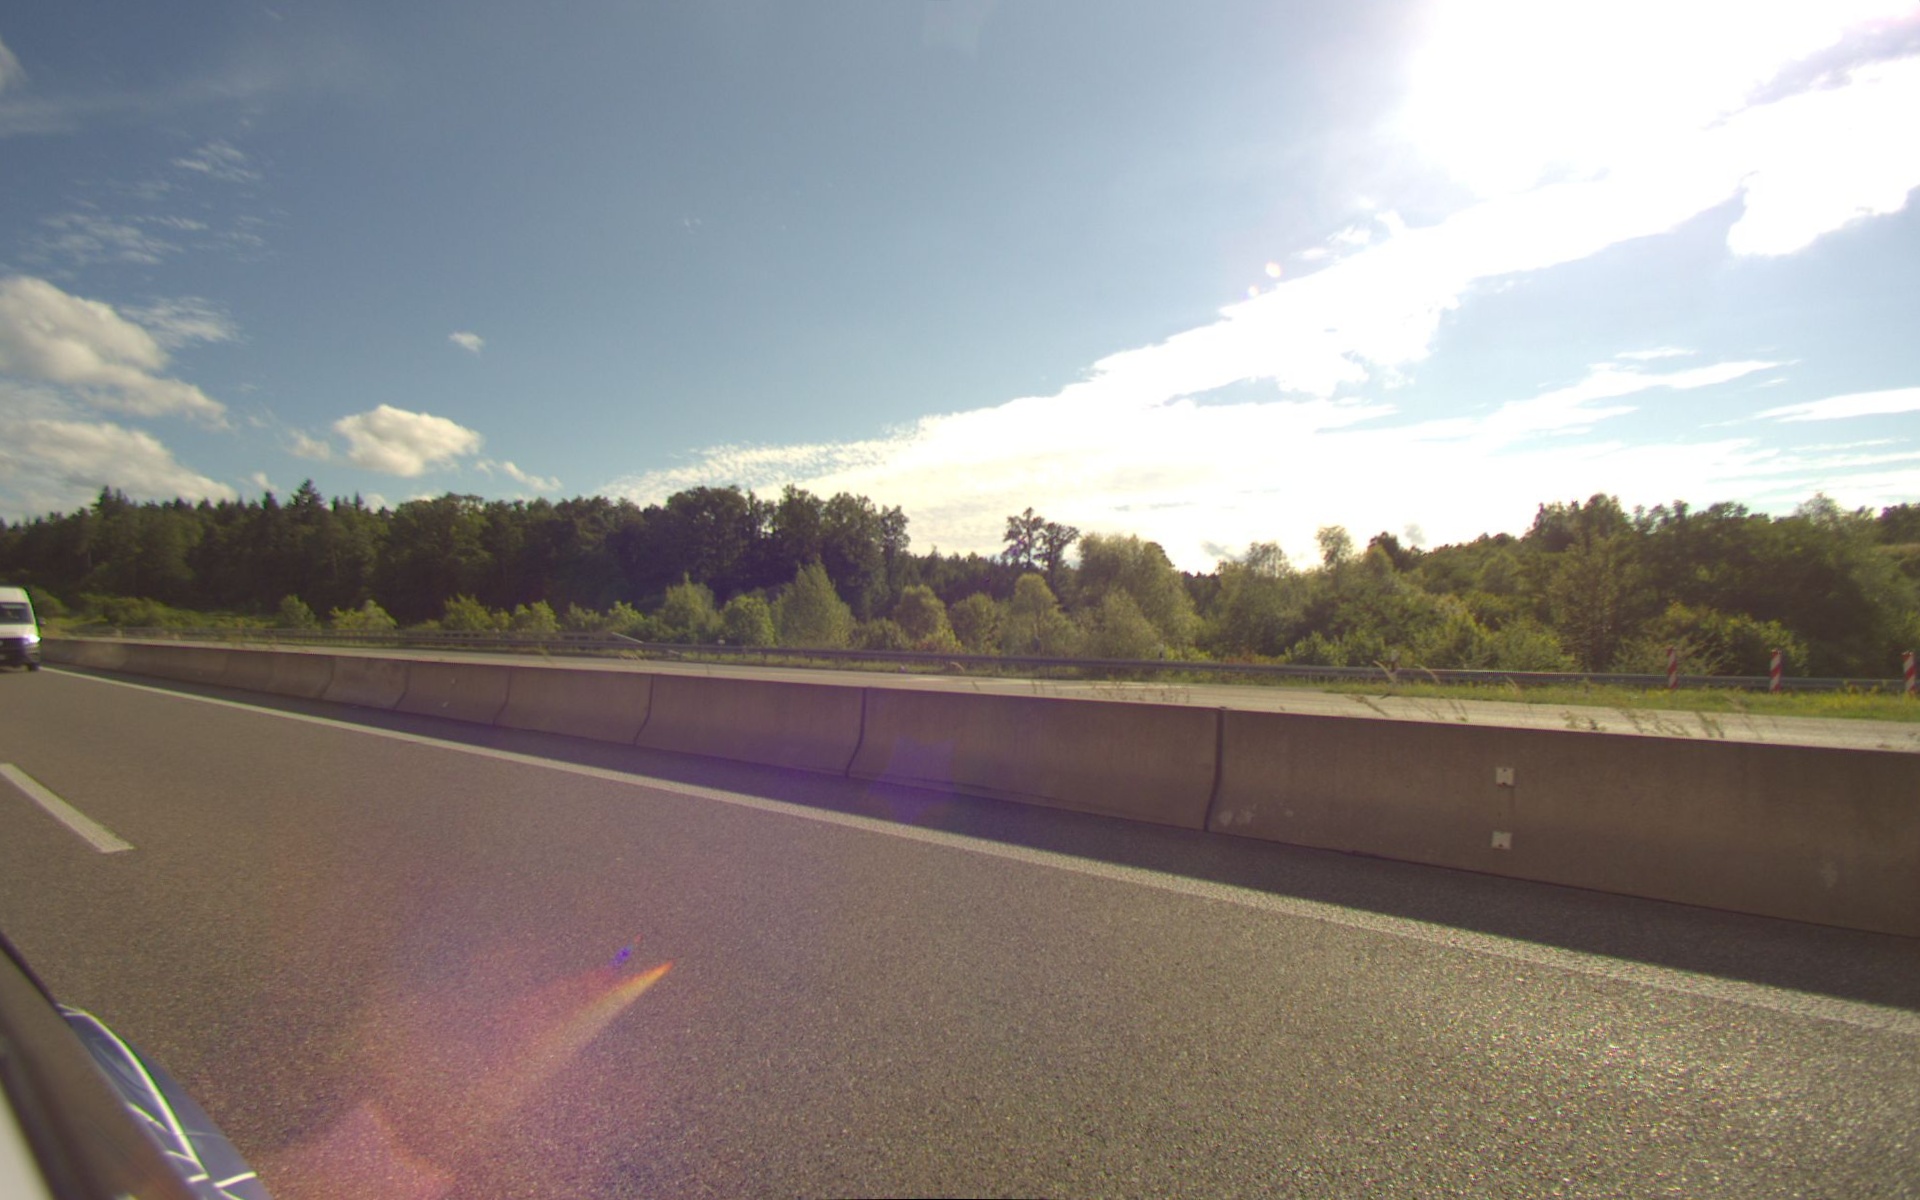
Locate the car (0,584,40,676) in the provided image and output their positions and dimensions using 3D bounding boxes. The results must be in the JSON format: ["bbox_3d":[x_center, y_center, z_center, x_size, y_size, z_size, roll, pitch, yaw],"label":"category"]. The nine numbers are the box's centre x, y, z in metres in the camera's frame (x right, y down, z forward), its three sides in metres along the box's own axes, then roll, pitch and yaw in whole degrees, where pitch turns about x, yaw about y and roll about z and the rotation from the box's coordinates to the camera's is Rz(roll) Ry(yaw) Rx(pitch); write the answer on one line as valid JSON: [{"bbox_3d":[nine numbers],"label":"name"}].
[{"bbox_3d":[-29.897,0.894,30.792,6.176,2.618,1.995,-1,0,40],"label":"car"}]
